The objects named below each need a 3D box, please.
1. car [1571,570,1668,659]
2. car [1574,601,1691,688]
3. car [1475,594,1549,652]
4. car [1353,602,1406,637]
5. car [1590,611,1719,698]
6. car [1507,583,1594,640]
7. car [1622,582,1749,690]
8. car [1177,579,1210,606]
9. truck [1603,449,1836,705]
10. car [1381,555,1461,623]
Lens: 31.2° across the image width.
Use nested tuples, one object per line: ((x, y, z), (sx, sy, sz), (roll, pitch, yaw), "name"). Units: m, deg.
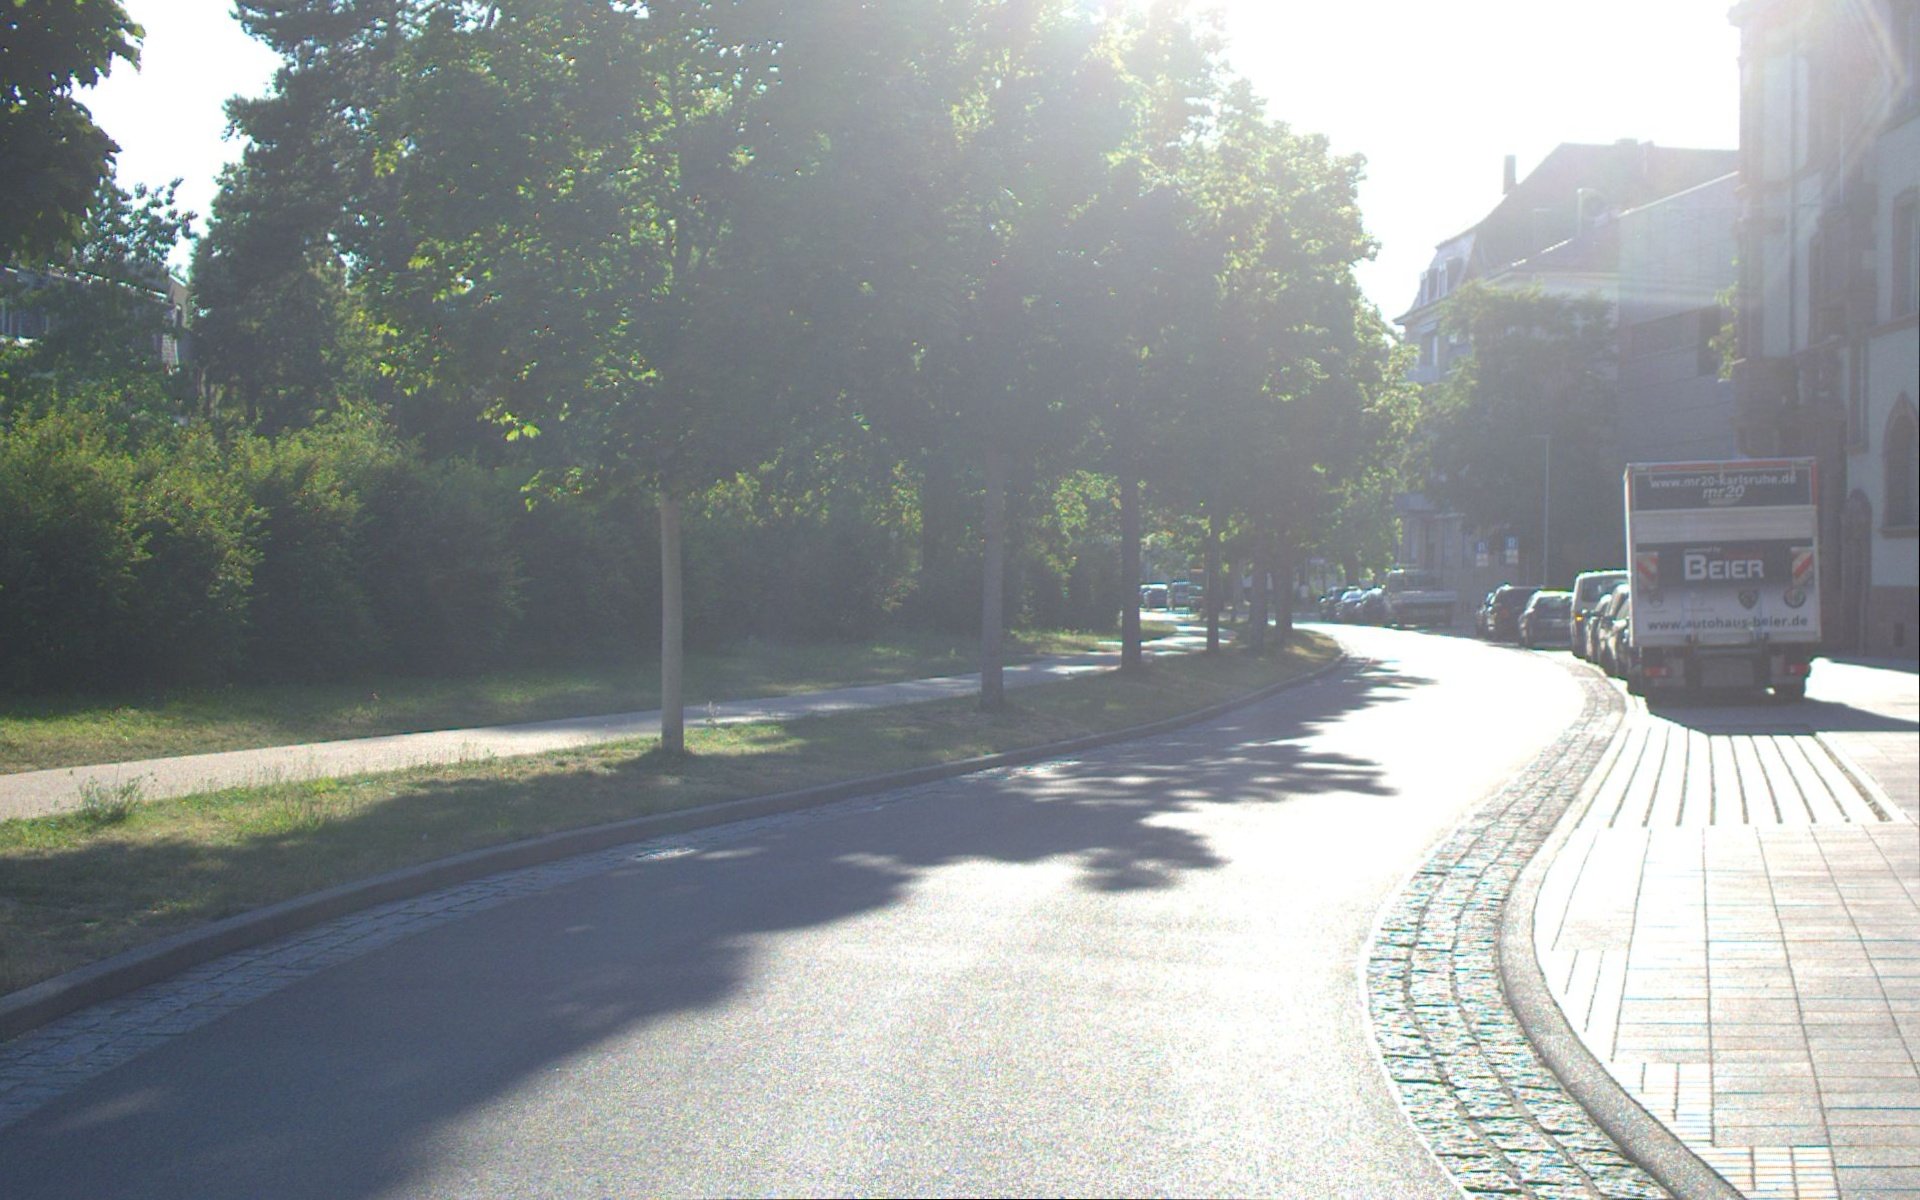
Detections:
((15.552, 0.357, 81.288), (1.994, 1.959, 4.847), (-2, -1, 9), "car")
((12.797, 0.825, 65.607), (1.816, 1.597, 4.191), (0, 0, 6), "car")
((16.623, 0.671, 103.634), (1.724, 1.663, 4.114), (0, 0, 2), "car")
((17.562, 0.802, 143.940), (1.690, 1.435, 3.551), (0, 0, -1), "car")
((12.153, 0.935, 60.381), (1.872, 1.431, 4.521), (-1, 0, 7), "car")
((15.976, 0.294, 93.187), (1.747, 1.461, 4.477), (1, 1, 3), "car")
((10.841, 0.509, 51.436), (1.769, 1.525, 4.570), (-1, 0, 12), "car")
((15.095, -0.485, 222.214), (1.794, 1.719, 4.000), (1, 0, 0), "car")
((9.968, -0.293, 45.609), (2.624, 3.110, 6.085), (-1, 0, 9), "truck")
((17.740, -0.450, 132.518), (2.211, 2.521, 6.147), (-1, 0, 0), "car")
